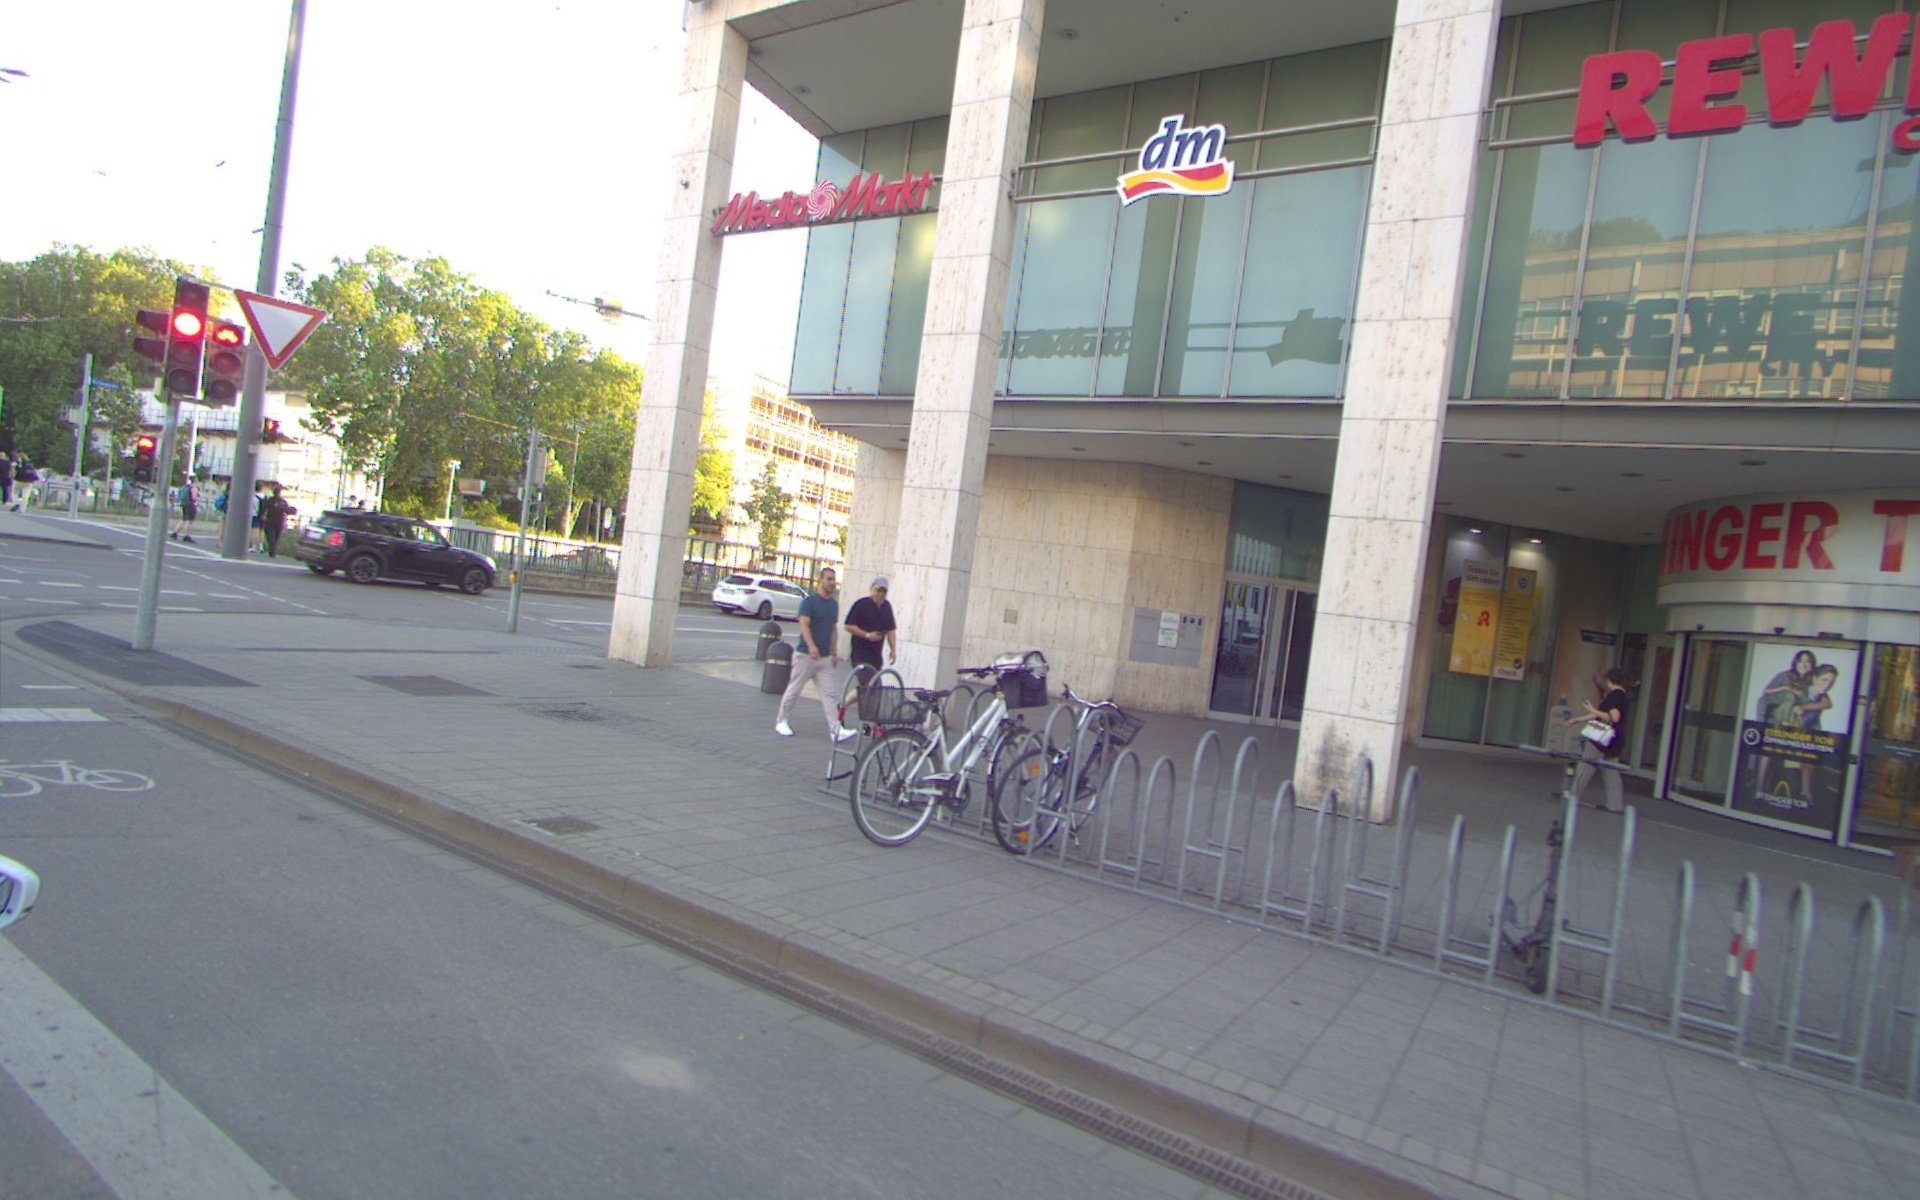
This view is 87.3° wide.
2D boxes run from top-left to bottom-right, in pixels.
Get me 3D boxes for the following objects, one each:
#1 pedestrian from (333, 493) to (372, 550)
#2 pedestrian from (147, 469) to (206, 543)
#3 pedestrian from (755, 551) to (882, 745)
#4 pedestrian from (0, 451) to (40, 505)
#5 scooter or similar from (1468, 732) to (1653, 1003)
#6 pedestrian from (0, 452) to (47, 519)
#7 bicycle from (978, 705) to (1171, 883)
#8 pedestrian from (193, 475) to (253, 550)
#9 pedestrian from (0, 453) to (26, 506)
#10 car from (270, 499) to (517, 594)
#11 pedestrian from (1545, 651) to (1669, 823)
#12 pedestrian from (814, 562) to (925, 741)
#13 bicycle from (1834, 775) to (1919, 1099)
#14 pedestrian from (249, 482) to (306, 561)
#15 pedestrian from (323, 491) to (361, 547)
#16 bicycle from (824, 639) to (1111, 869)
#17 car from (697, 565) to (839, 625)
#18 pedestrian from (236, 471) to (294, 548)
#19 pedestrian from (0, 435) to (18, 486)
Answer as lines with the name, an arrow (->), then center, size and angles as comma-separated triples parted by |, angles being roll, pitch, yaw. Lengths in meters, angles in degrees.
pedestrian -> -20.151, -2.612, 33.372 | 0.825, 1.751, 0.685 | 8, 1, 37
pedestrian -> -20.160, -2.406, 25.891 | 0.879, 1.751, 0.687 | 8, 1, 21
pedestrian -> -1.428, 0.466, 10.172 | 0.728, 1.801, 0.860 | 8, 4, 33
pedestrian -> -33.602, -4.336, 35.887 | 0.795, 1.751, 0.688 | 8, 1, 6
scooter or similar -> 3.325, 1.395, 5.611 | 0.662, 1.174, 1.278 | 8, 0, 31
pedestrian -> -26.497, -3.231, 28.466 | 0.729, 1.751, 0.692 | 8, 1, 34
bicycle -> 0.854, 1.261, 6.962 | 0.508, 0.948, 1.870 | 8, 0, 30
pedestrian -> -18.976, -2.247, 25.911 | 0.676, 1.751, 0.895 | 8, 1, 26
pedestrian -> -33.380, -4.236, 35.170 | 0.676, 1.751, 0.809 | 8, 1, 31
car -> -13.012, -1.180, 23.399 | 2.092, 1.514, 4.467 | 8, 0, 31
pedestrian -> 7.550, 1.555, 11.804 | 0.974, 1.800, 0.861 | 8, 3, 31
pedestrian -> -0.979, 0.544, 10.907 | 0.728, 1.801, 0.756 | 8, 4, 33
bicycle -> 4.718, 1.569, 4.563 | 0.662, 1.275, 1.869 | 8, 1, 30
pedestrian -> -17.399, -1.990, 25.657 | 0.883, 1.854, 0.685 | 7, 1, -19
pedestrian -> -20.827, -2.714, 33.899 | 0.825, 1.751, 0.686 | 8, 1, 36
bicycle -> 0.106, 0.959, 6.427 | 1.811, 1.227, 0.563 | 7, 1, -43
car -> -6.593, -0.132, 35.082 | 2.092, 1.514, 4.803 | 8, 0, 31
pedestrian -> -18.220, -2.369, 26.390 | 0.676, 1.863, 0.894 | 8, 1, 28
pedestrian -> -34.541, -5.042, 36.028 | 0.796, 1.751, 0.687 | 7, 1, -1
